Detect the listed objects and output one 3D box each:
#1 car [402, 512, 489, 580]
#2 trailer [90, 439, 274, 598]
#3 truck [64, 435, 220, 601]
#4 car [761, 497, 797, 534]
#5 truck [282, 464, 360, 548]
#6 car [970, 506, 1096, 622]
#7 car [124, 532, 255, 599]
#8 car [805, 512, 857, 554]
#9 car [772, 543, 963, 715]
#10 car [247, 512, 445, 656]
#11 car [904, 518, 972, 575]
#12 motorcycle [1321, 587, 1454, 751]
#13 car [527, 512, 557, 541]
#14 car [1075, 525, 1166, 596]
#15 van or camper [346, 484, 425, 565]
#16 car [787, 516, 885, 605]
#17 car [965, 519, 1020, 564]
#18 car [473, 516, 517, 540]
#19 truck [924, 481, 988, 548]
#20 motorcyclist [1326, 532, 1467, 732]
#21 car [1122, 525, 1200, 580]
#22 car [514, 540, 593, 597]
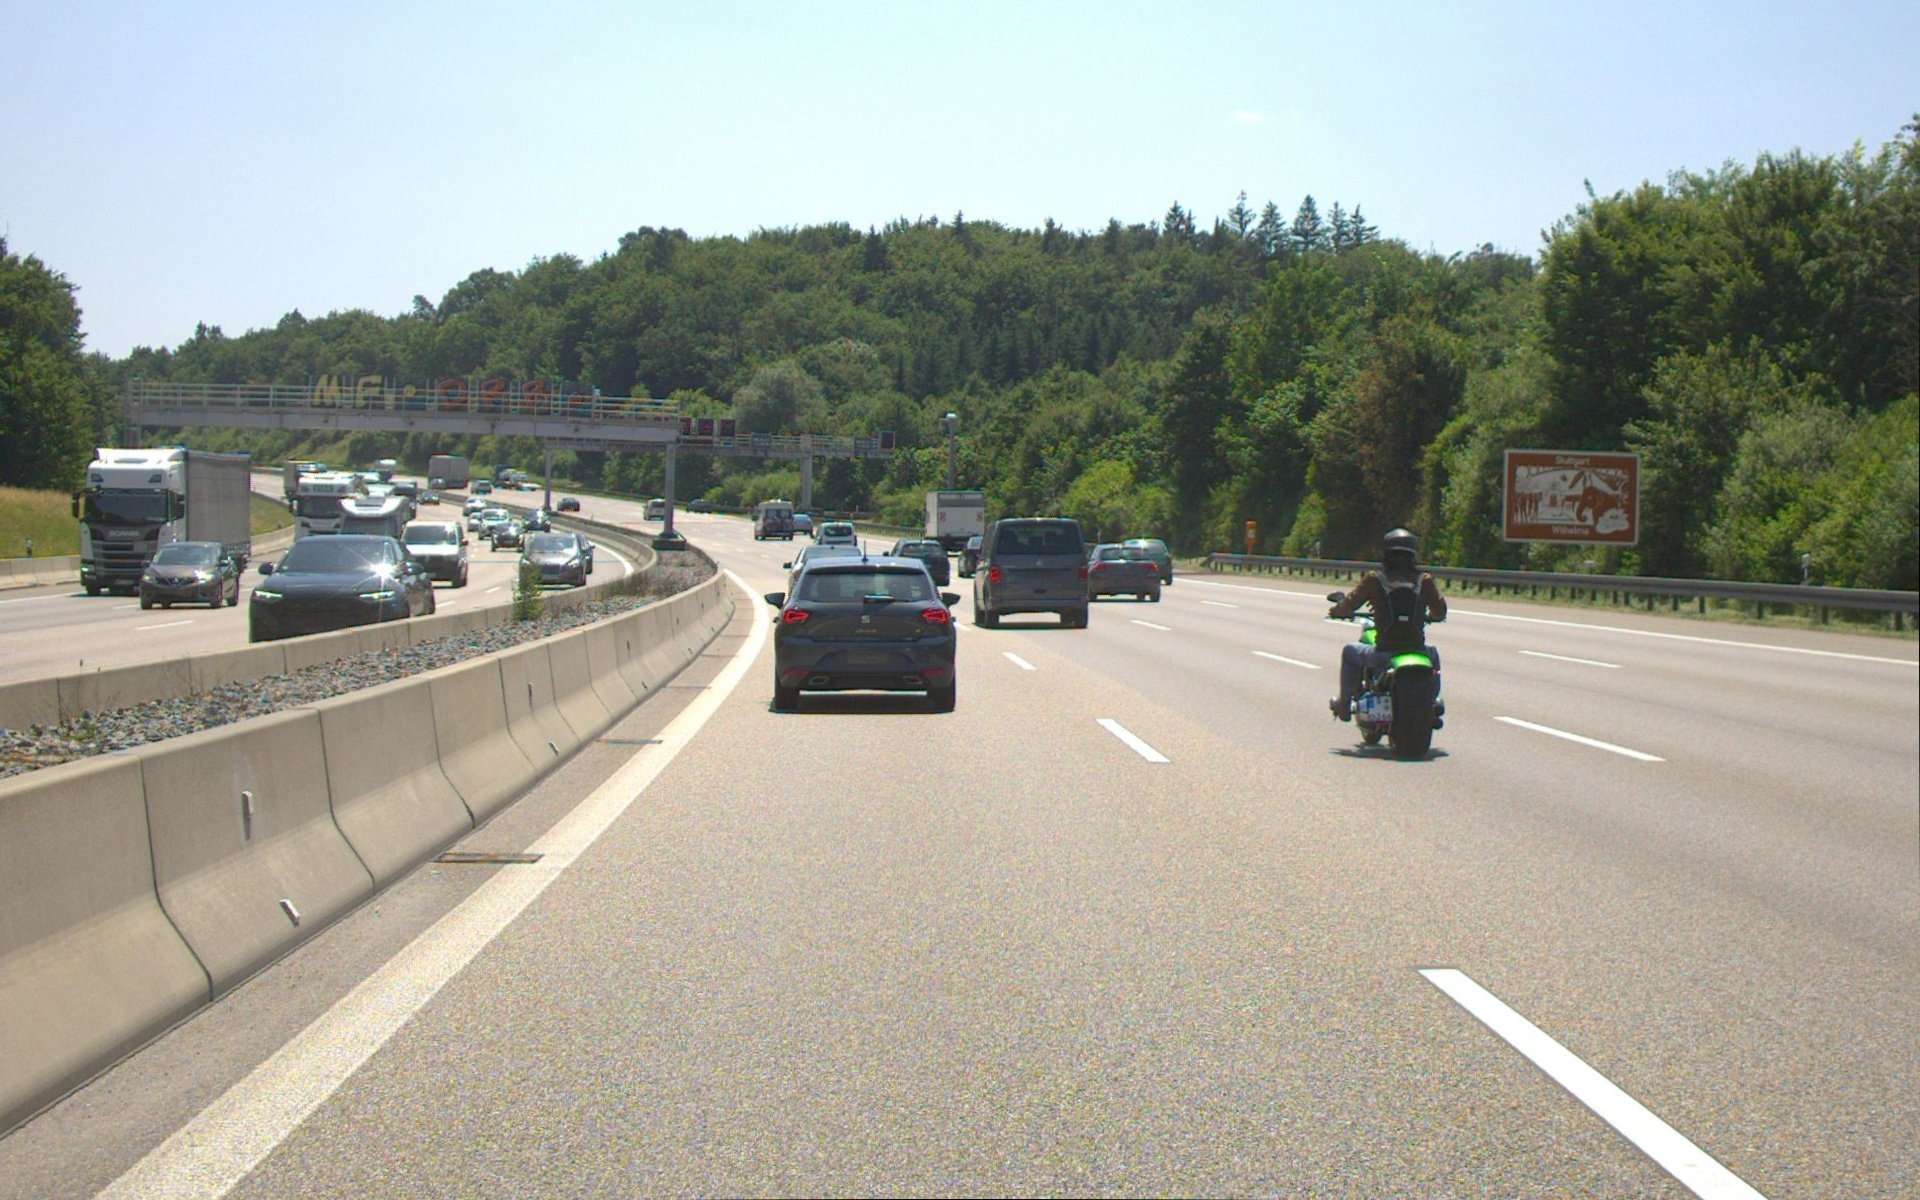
[{"bbox_3d":[-15.607,-1.653,104.418,2.002,2.007,5.185,0,1,-2],"label":"car"},{"bbox_3d":[-22.952,-2.313,102.306,3.031,4.345,14.278,1,0,-4],"label":"trailer"},{"bbox_3d":[-22.464,-2.216,94.715,3.042,4.357,6.456,1,0,-4],"label":"truck"},{"bbox_3d":[-11.728,-5.480,223.138,2.265,2.363,4.703,0,2,-2],"label":"car"},{"bbox_3d":[-28.078,-4.094,151.248,2.703,3.531,6.622,1,0,-5],"label":"truck"},{"bbox_3d":[1.300,-0.651,63.423,1.962,2.026,5.084,0,0,-3],"label":"car"},{"bbox_3d":[-17.640,-0.811,78.908,1.993,1.491,4.798,0,1,-1],"label":"car"},{"bbox_3d":[-5.842,-3.024,155.214,2.103,1.738,4.689,0,3,-5],"label":"car"},{"bbox_3d":[-0.896,0.233,33.253,1.708,1.428,4.001,1,2,-2],"label":"car"},{"bbox_3d":[-8.170,-0.249,46.132,1.827,1.823,4.985,0,1,-1],"label":"car"},{"bbox_3d":[-0.698,-1.650,107.501,1.945,1.706,4.000,1,0,-2],"label":"car"},{"bbox_3d":[3.173,0.487,25.688,0.535,1.132,2.437,0,1,-4],"label":"motorcycle"},{"bbox_3d":[-30.189,-5.308,248.346,1.993,2.007,4.001,1,0,-6],"label":"car"},{"bbox_3d":[3.967,-1.010,85.570,1.849,1.722,4.001,0,1,-3],"label":"car"},{"bbox_3d":[-21.254,-2.798,127.419,2.558,2.920,7.351,0,1,-7],"label":"van or camper"},{"bbox_3d":[-2.691,-0.816,74.001,2.012,1.839,4.000,0,0,-3],"label":"car"},{"bbox_3d":[1.126,-2.090,121.055,1.665,1.403,4.904,1,3,-3],"label":"car"},{"bbox_3d":[-24.663,-3.812,182.356,1.993,1.218,4.001,1,0,-3],"label":"car"},{"bbox_3d":[-0.224,-4.336,172.682,2.985,3.155,7.576,1,3,-2],"label":"truck"},{"bbox_3d":[3.208,0.220,25.363,0.852,1.422,1.023,0,2,-4],"label":"motorcyclist"},{"bbox_3d":[6.303,-1.510,108.355,1.993,1.722,4.001,0,1,-3],"label":"car"},{"bbox_3d":[-11.995,-0.952,101.715,1.872,1.627,5.164,0,1,-2],"label":"car"}]
